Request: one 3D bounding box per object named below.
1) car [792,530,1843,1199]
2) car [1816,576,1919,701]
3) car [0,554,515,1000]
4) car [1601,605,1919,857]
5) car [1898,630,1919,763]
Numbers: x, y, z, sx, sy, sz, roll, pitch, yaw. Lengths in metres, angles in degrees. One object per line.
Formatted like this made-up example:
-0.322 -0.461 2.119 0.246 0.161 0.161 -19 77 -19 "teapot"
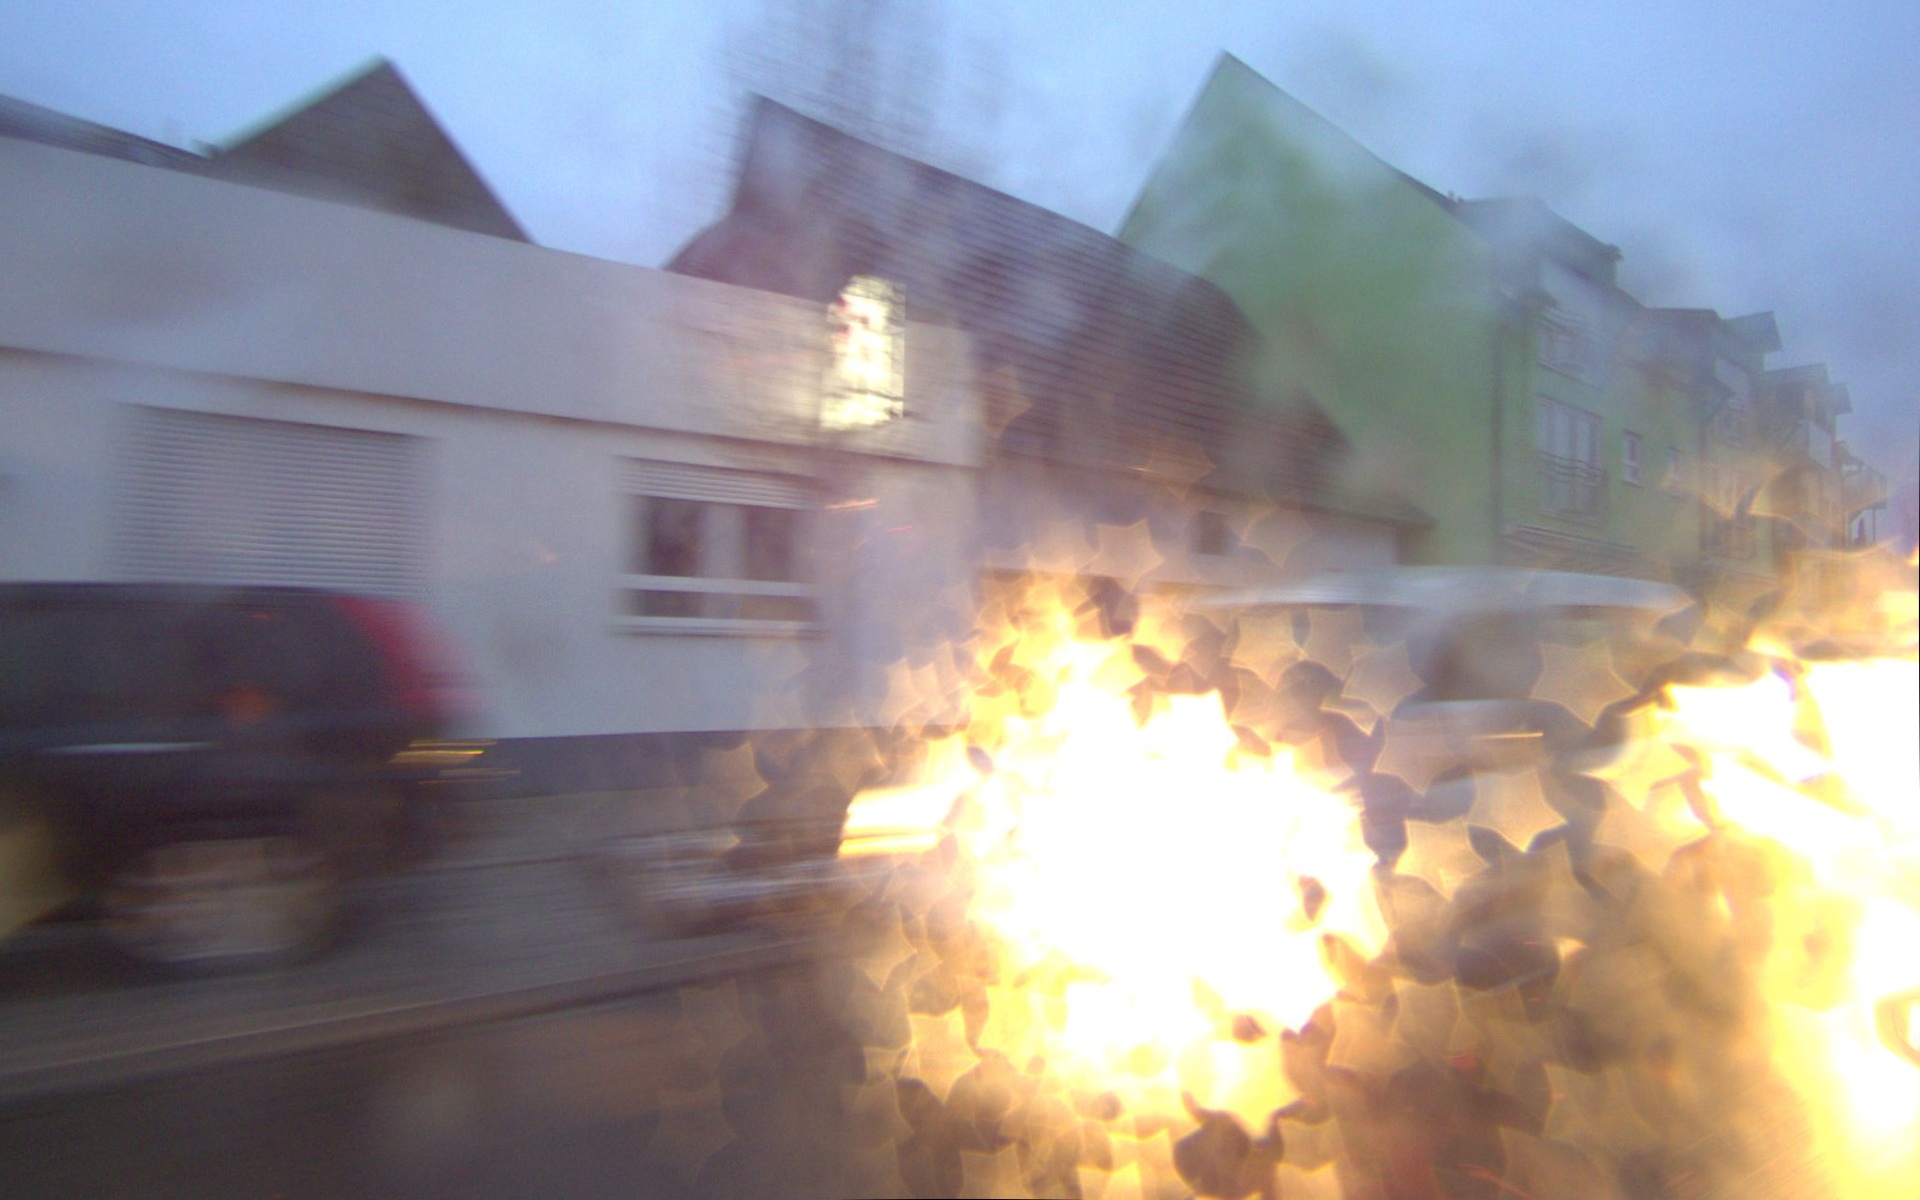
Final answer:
1.726 0.623 4.219 4.370 1.567 1.940 -2 -1 -35 "car"
22.363 0.924 23.228 6.698 2.594 2.468 3 -1 -37 "car"
-4.620 0.675 4.453 4.657 1.733 1.871 2 -1 -30 "car"
7.232 0.881 8.270 4.215 1.576 1.845 1 -2 -35 "car"
13.694 1.174 12.785 4.220 1.576 1.978 1 -2 -39 "car"
